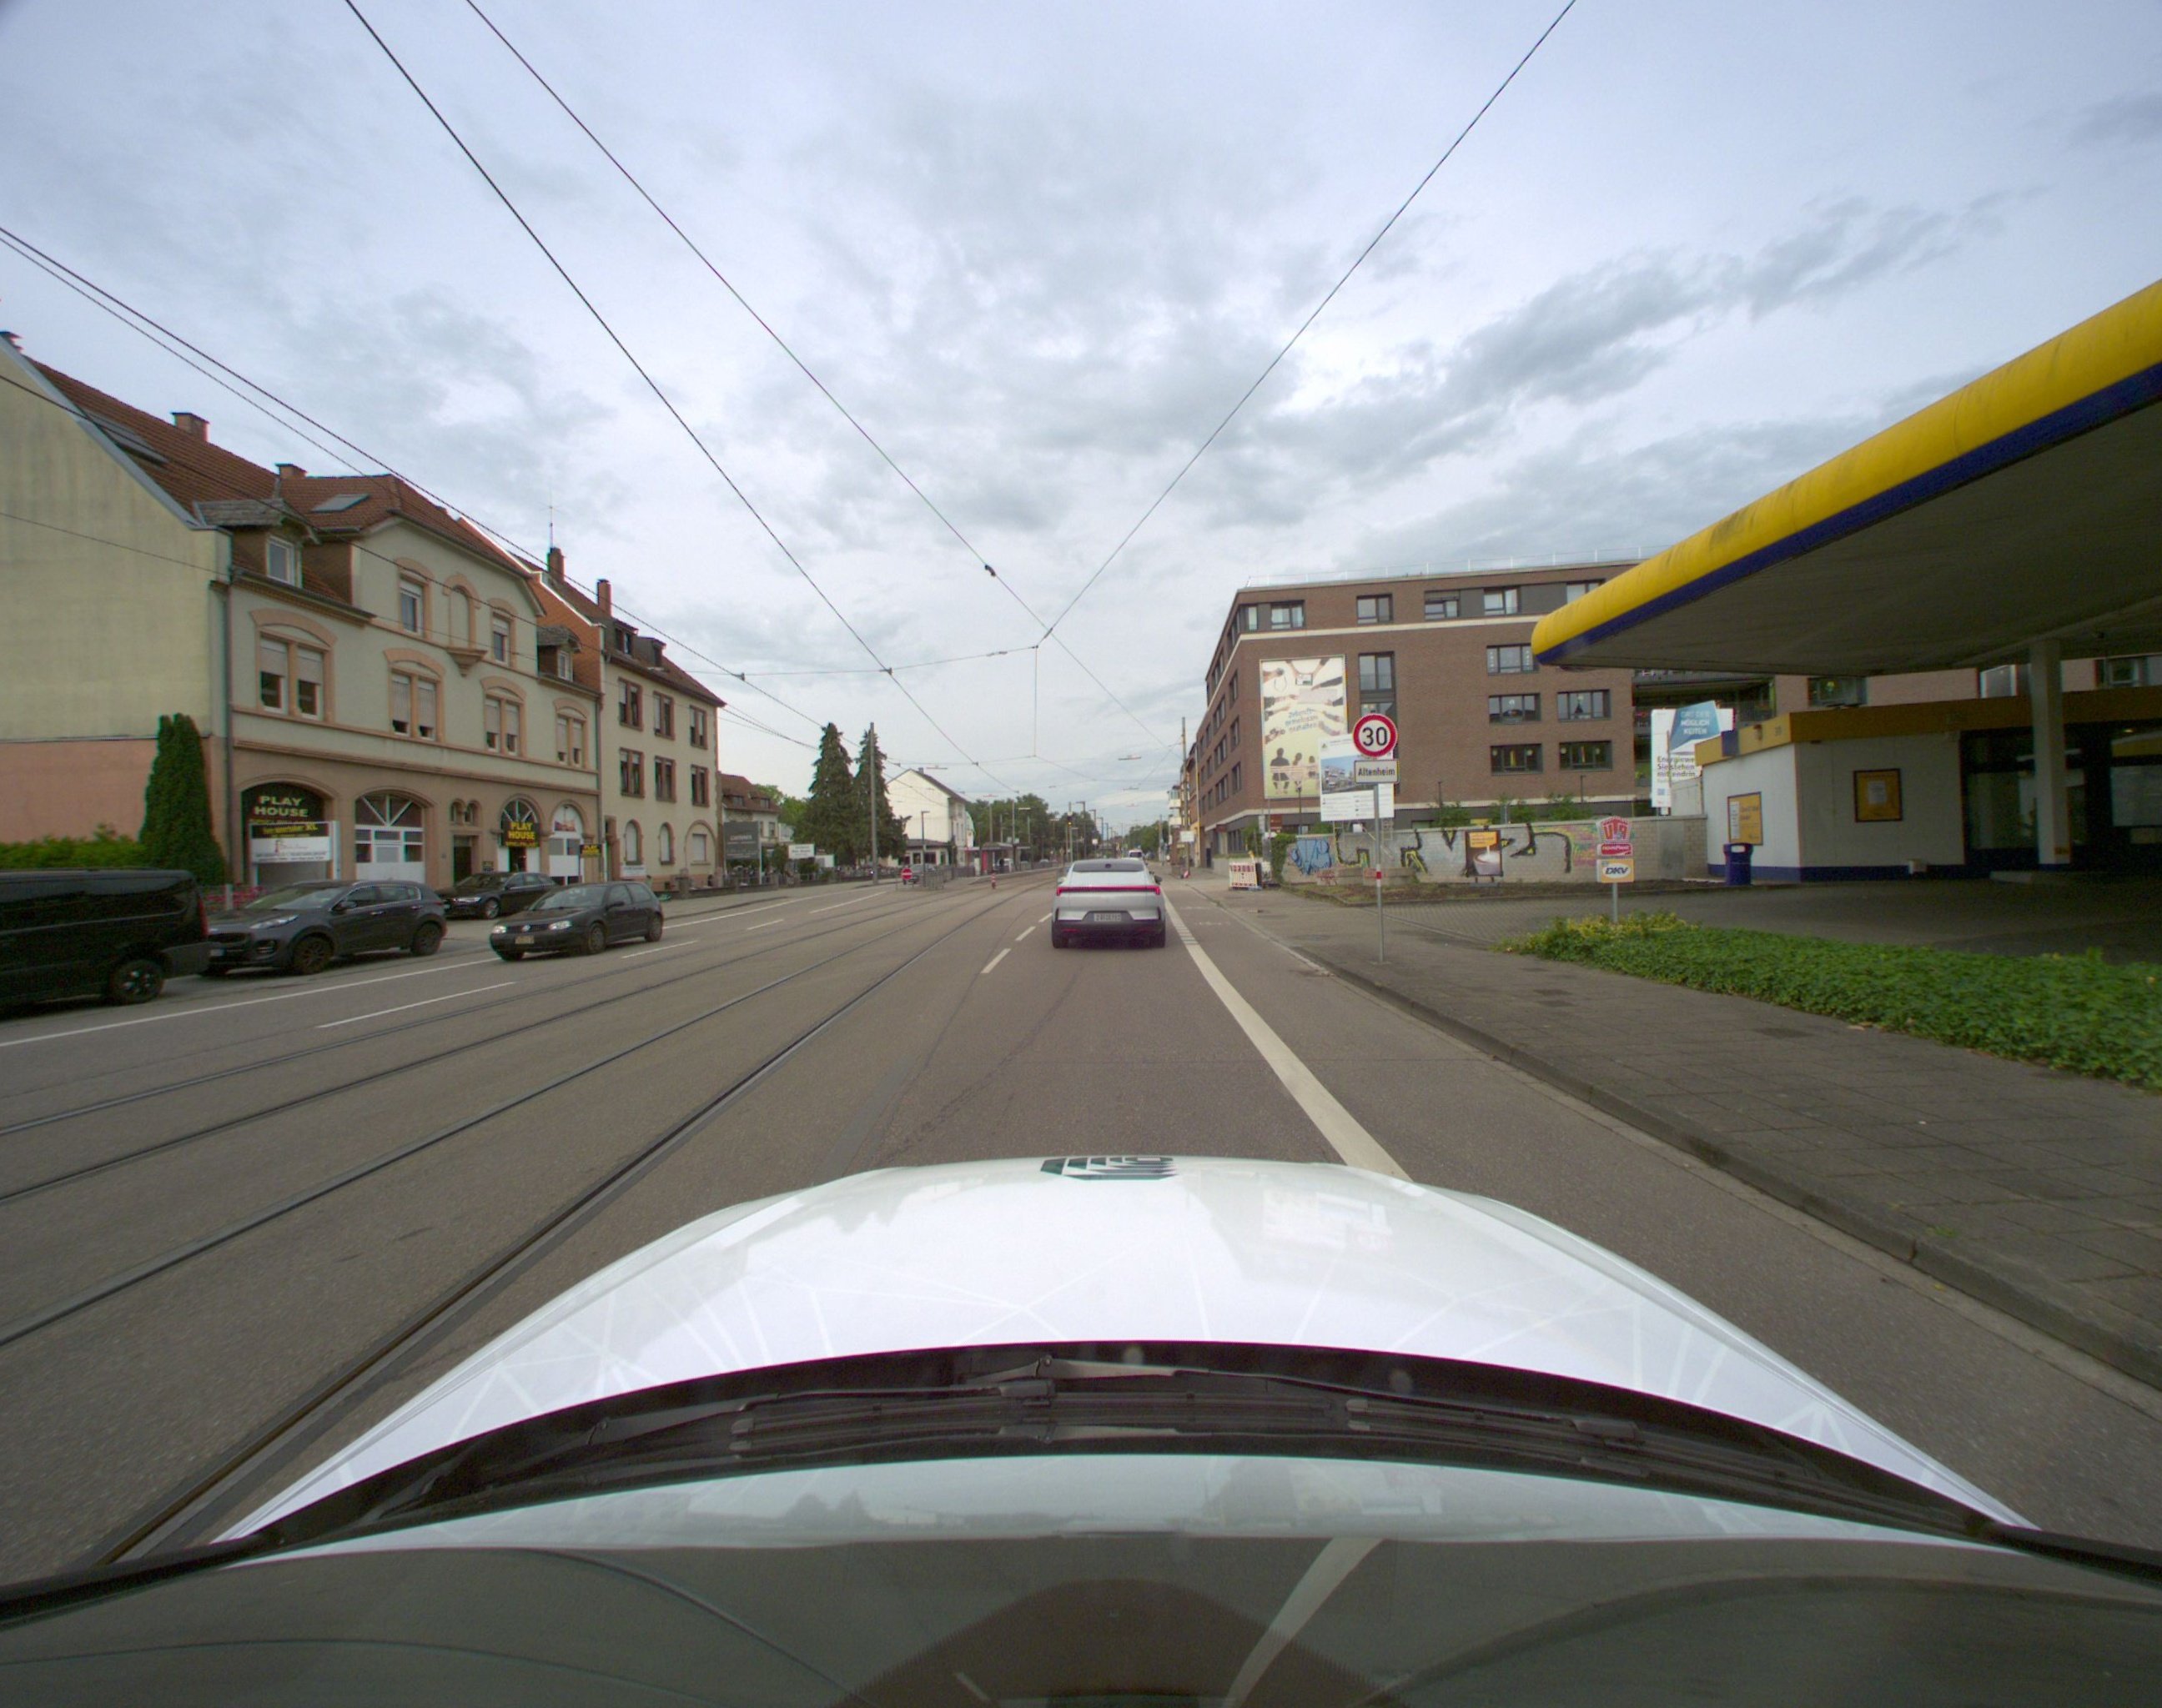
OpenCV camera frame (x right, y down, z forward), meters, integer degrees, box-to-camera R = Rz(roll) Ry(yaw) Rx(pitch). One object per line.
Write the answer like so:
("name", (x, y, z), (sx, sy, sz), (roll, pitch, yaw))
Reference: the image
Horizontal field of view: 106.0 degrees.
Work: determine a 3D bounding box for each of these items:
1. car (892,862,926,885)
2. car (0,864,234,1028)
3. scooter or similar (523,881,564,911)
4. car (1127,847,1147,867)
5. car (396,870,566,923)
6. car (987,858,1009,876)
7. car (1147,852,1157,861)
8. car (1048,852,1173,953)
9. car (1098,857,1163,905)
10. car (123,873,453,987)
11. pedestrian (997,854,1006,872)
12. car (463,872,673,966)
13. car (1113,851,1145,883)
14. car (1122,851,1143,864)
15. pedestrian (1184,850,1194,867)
("car", (-12.606, 1.411, 59.931), (1.903, 1.473, 4.808), (-3, 0, -7))
("car", (-14.251, 1.137, 10.167), (1.981, 2.014, 5.181), (0, -1, -2))
("scooter or similar", (-20.186, 1.583, 30.595), (1.172, 1.102, 0.527), (1, -1, -5))
("car", (7.124, 0.371, 104.397), (2.218, 2.402, 5.123), (-1, -1, 1))
("car", (-19.508, 1.310, 26.828), (1.987, 1.493, 4.900), (-1, -1, -1))
("car", (-9.860, 1.513, 97.440), (1.877, 1.988, 4.528), (-3, -1, 3))
("car", (22.488, 0.832, 258.260), (2.794, 2.505, 5.729), (-1, -1, 4))
("car", (0.475, 0.806, 15.095), (1.993, 1.581, 3.999), (-1, -1, 0))
("car", (1.662, 0.864, 27.689), (1.985, 1.420, 4.003), (-2, 0, 3))
("car", (-14.795, 1.301, 15.681), (2.032, 1.749, 4.530), (0, 0, -3))
("pedestrian", (-7.484, 0.818, 76.551), (0.612, 1.664, 0.699), (-1, -1, 7))
("car", (-10.245, 1.210, 16.693), (1.786, 1.530, 4.135), (-4, -1, -4))
("car", (2.707, 0.726, 45.647), (1.673, 1.687, 3.828), (-1, -1, 4))
("car", (8.674, 0.595, 137.451), (2.000, 2.014, 3.974), (-1, -1, -19))
("pedestrian", (12.480, 0.535, 94.385), (0.955, 1.850, 0.978), (-4, 0, 10))
